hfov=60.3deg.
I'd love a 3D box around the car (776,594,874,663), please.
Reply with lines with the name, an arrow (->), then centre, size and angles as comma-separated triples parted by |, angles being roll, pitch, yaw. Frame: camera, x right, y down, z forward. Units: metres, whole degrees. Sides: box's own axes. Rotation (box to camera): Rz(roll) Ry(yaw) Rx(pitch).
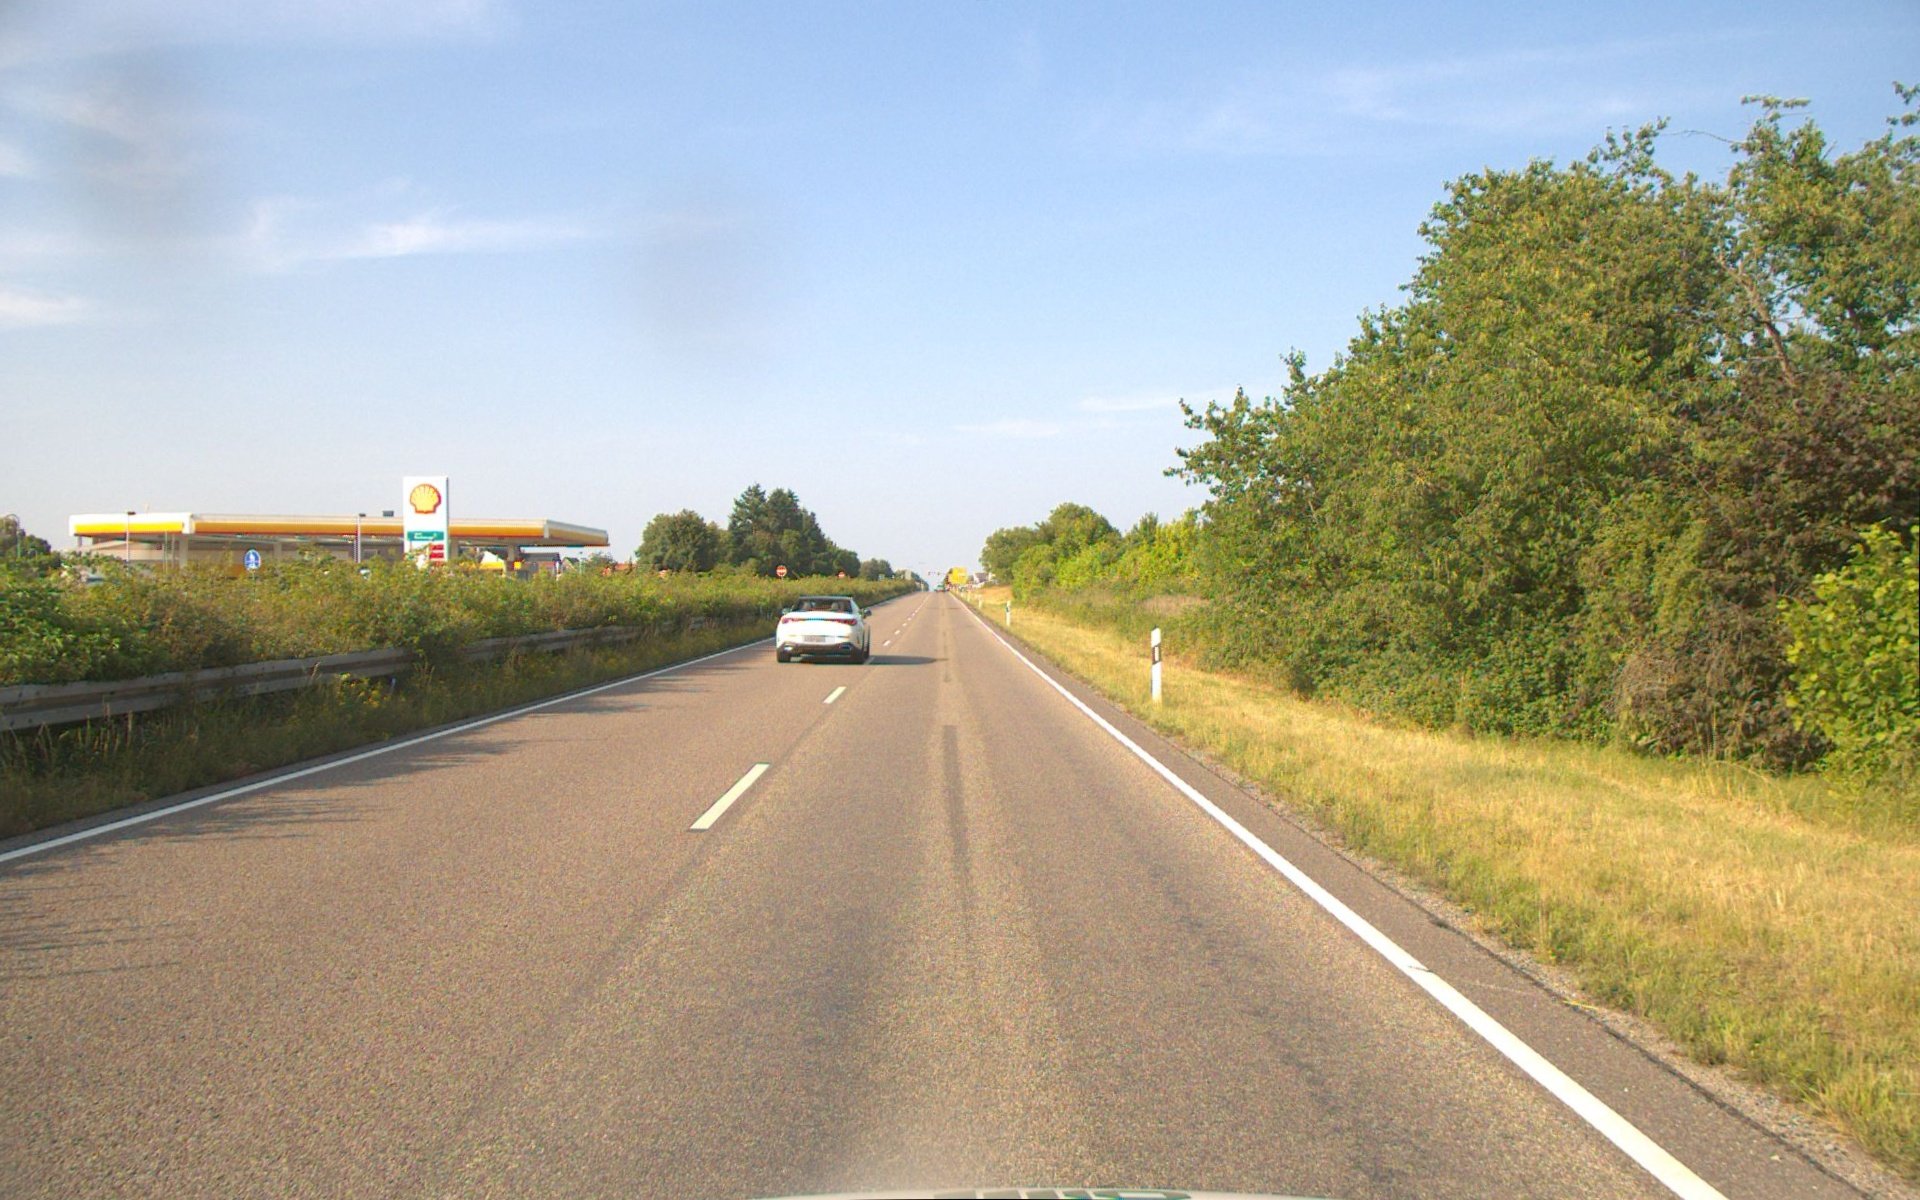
car -> -2.880, 0.571, 36.081 | 1.735, 1.361, 4.949 | 1, 0, 0
